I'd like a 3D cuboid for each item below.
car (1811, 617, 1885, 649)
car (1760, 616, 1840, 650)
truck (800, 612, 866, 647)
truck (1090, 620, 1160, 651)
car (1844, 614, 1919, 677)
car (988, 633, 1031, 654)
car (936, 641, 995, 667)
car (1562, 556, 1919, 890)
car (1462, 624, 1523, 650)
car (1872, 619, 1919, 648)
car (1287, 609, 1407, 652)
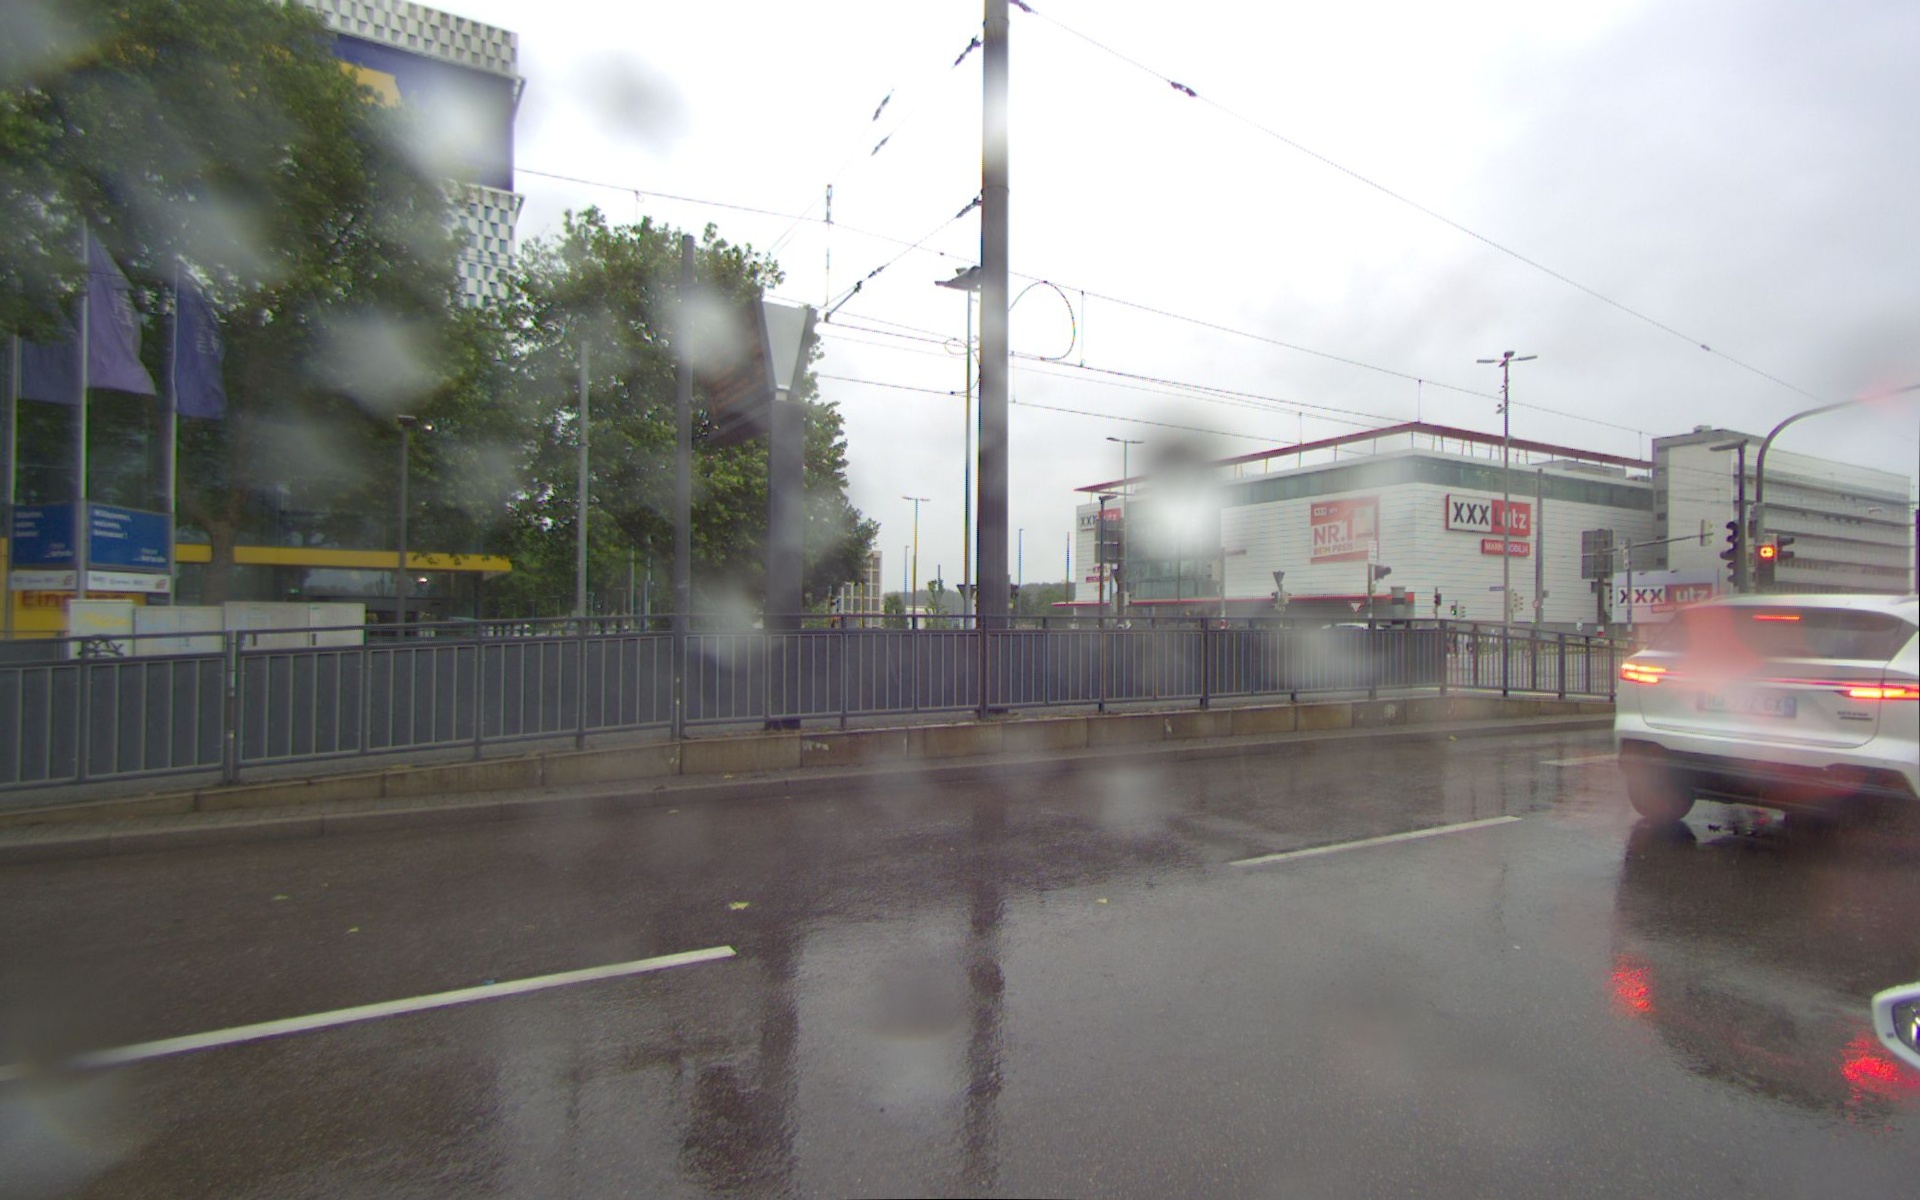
[{"bbox_3d":[44.806,1.656,50.668,3.765,1.445,1.702,3,1,-30],"label":"car"},{"bbox_3d":[39.827,1.577,47.616,3.765,1.445,1.702,3,1,-30],"label":"car"},{"bbox_3d":[-10.153,2.299,79.536,2.445,2.240,7.329,3,1,-31],"label":"truck"},{"bbox_3d":[12.701,2.696,77.760,1.990,1.968,5.847,3,1,-31],"label":"truck"},{"bbox_3d":[25.475,1.218,25.864,3.673,1.527,1.649,3,1,26],"label":"car"},{"bbox_3d":[4.125,3.648,84.395,1.589,1.394,4.030,3,1,-30],"label":"car"},{"bbox_3d":[0.337,3.532,66.514,1.596,1.394,4.012,2,1,-43],"label":"car"},{"bbox_3d":[6.711,0.702,7.392,4.609,1.799,1.921,2,0,-30],"label":"car"},{"bbox_3d":[32.399,2.255,61.064,3.765,1.372,1.471,3,1,-30],"label":"car"},{"bbox_3d":[50.985,1.810,54.262,3.527,1.445,1.552,3,1,-30],"label":"car"},{"bbox_3d":[15.483,1.182,40.327,1.637,1.447,4.203,1,1,-39],"label":"car"}]
